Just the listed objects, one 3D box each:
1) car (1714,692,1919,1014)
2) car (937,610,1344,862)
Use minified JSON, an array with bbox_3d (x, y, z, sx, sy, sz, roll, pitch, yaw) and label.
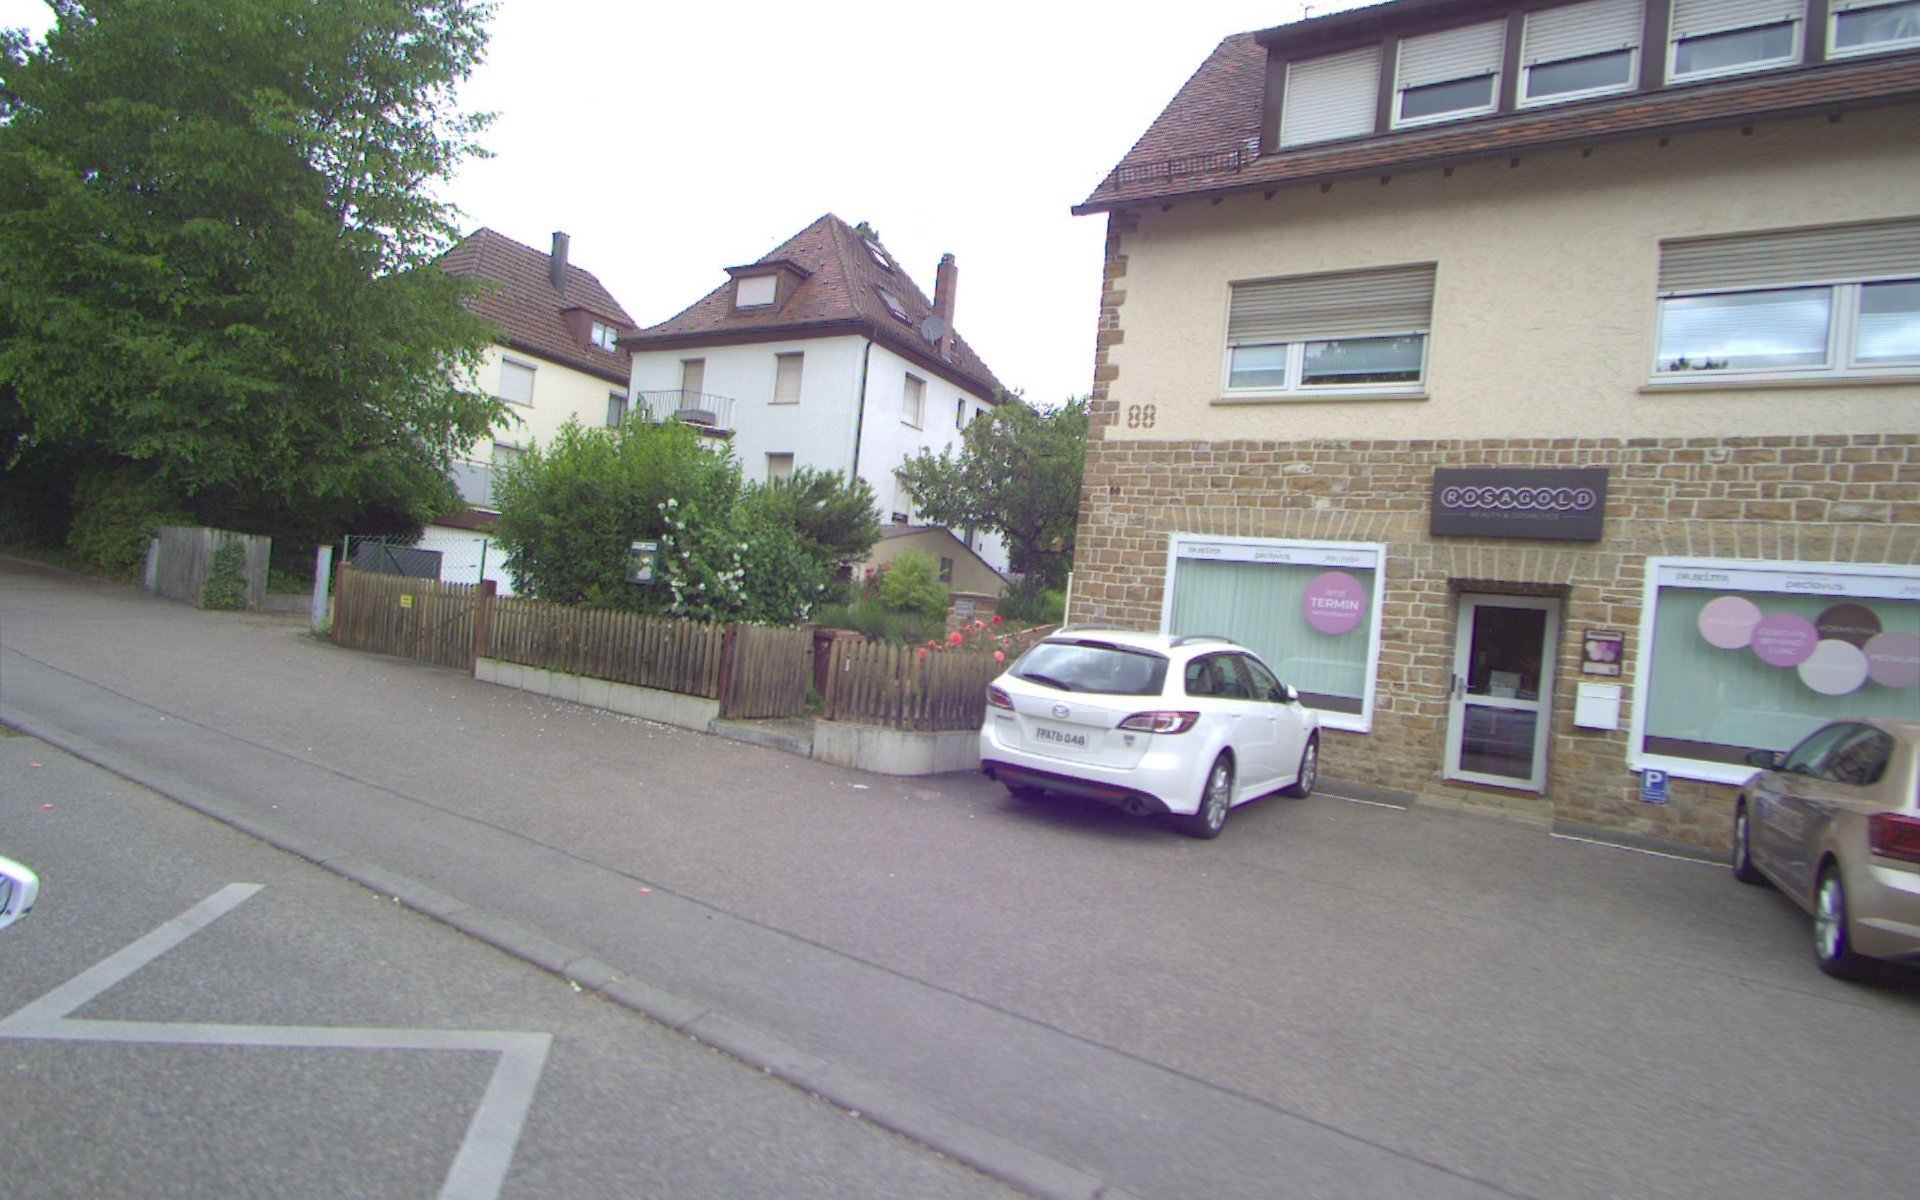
[{"bbox_3d":[6.105,1.438,6.297,1.613,1.419,3.807,5,0,29],"label":"car"},{"bbox_3d":[1.858,1.001,8.874,1.835,1.507,4.420,5,0,34],"label":"car"}]
